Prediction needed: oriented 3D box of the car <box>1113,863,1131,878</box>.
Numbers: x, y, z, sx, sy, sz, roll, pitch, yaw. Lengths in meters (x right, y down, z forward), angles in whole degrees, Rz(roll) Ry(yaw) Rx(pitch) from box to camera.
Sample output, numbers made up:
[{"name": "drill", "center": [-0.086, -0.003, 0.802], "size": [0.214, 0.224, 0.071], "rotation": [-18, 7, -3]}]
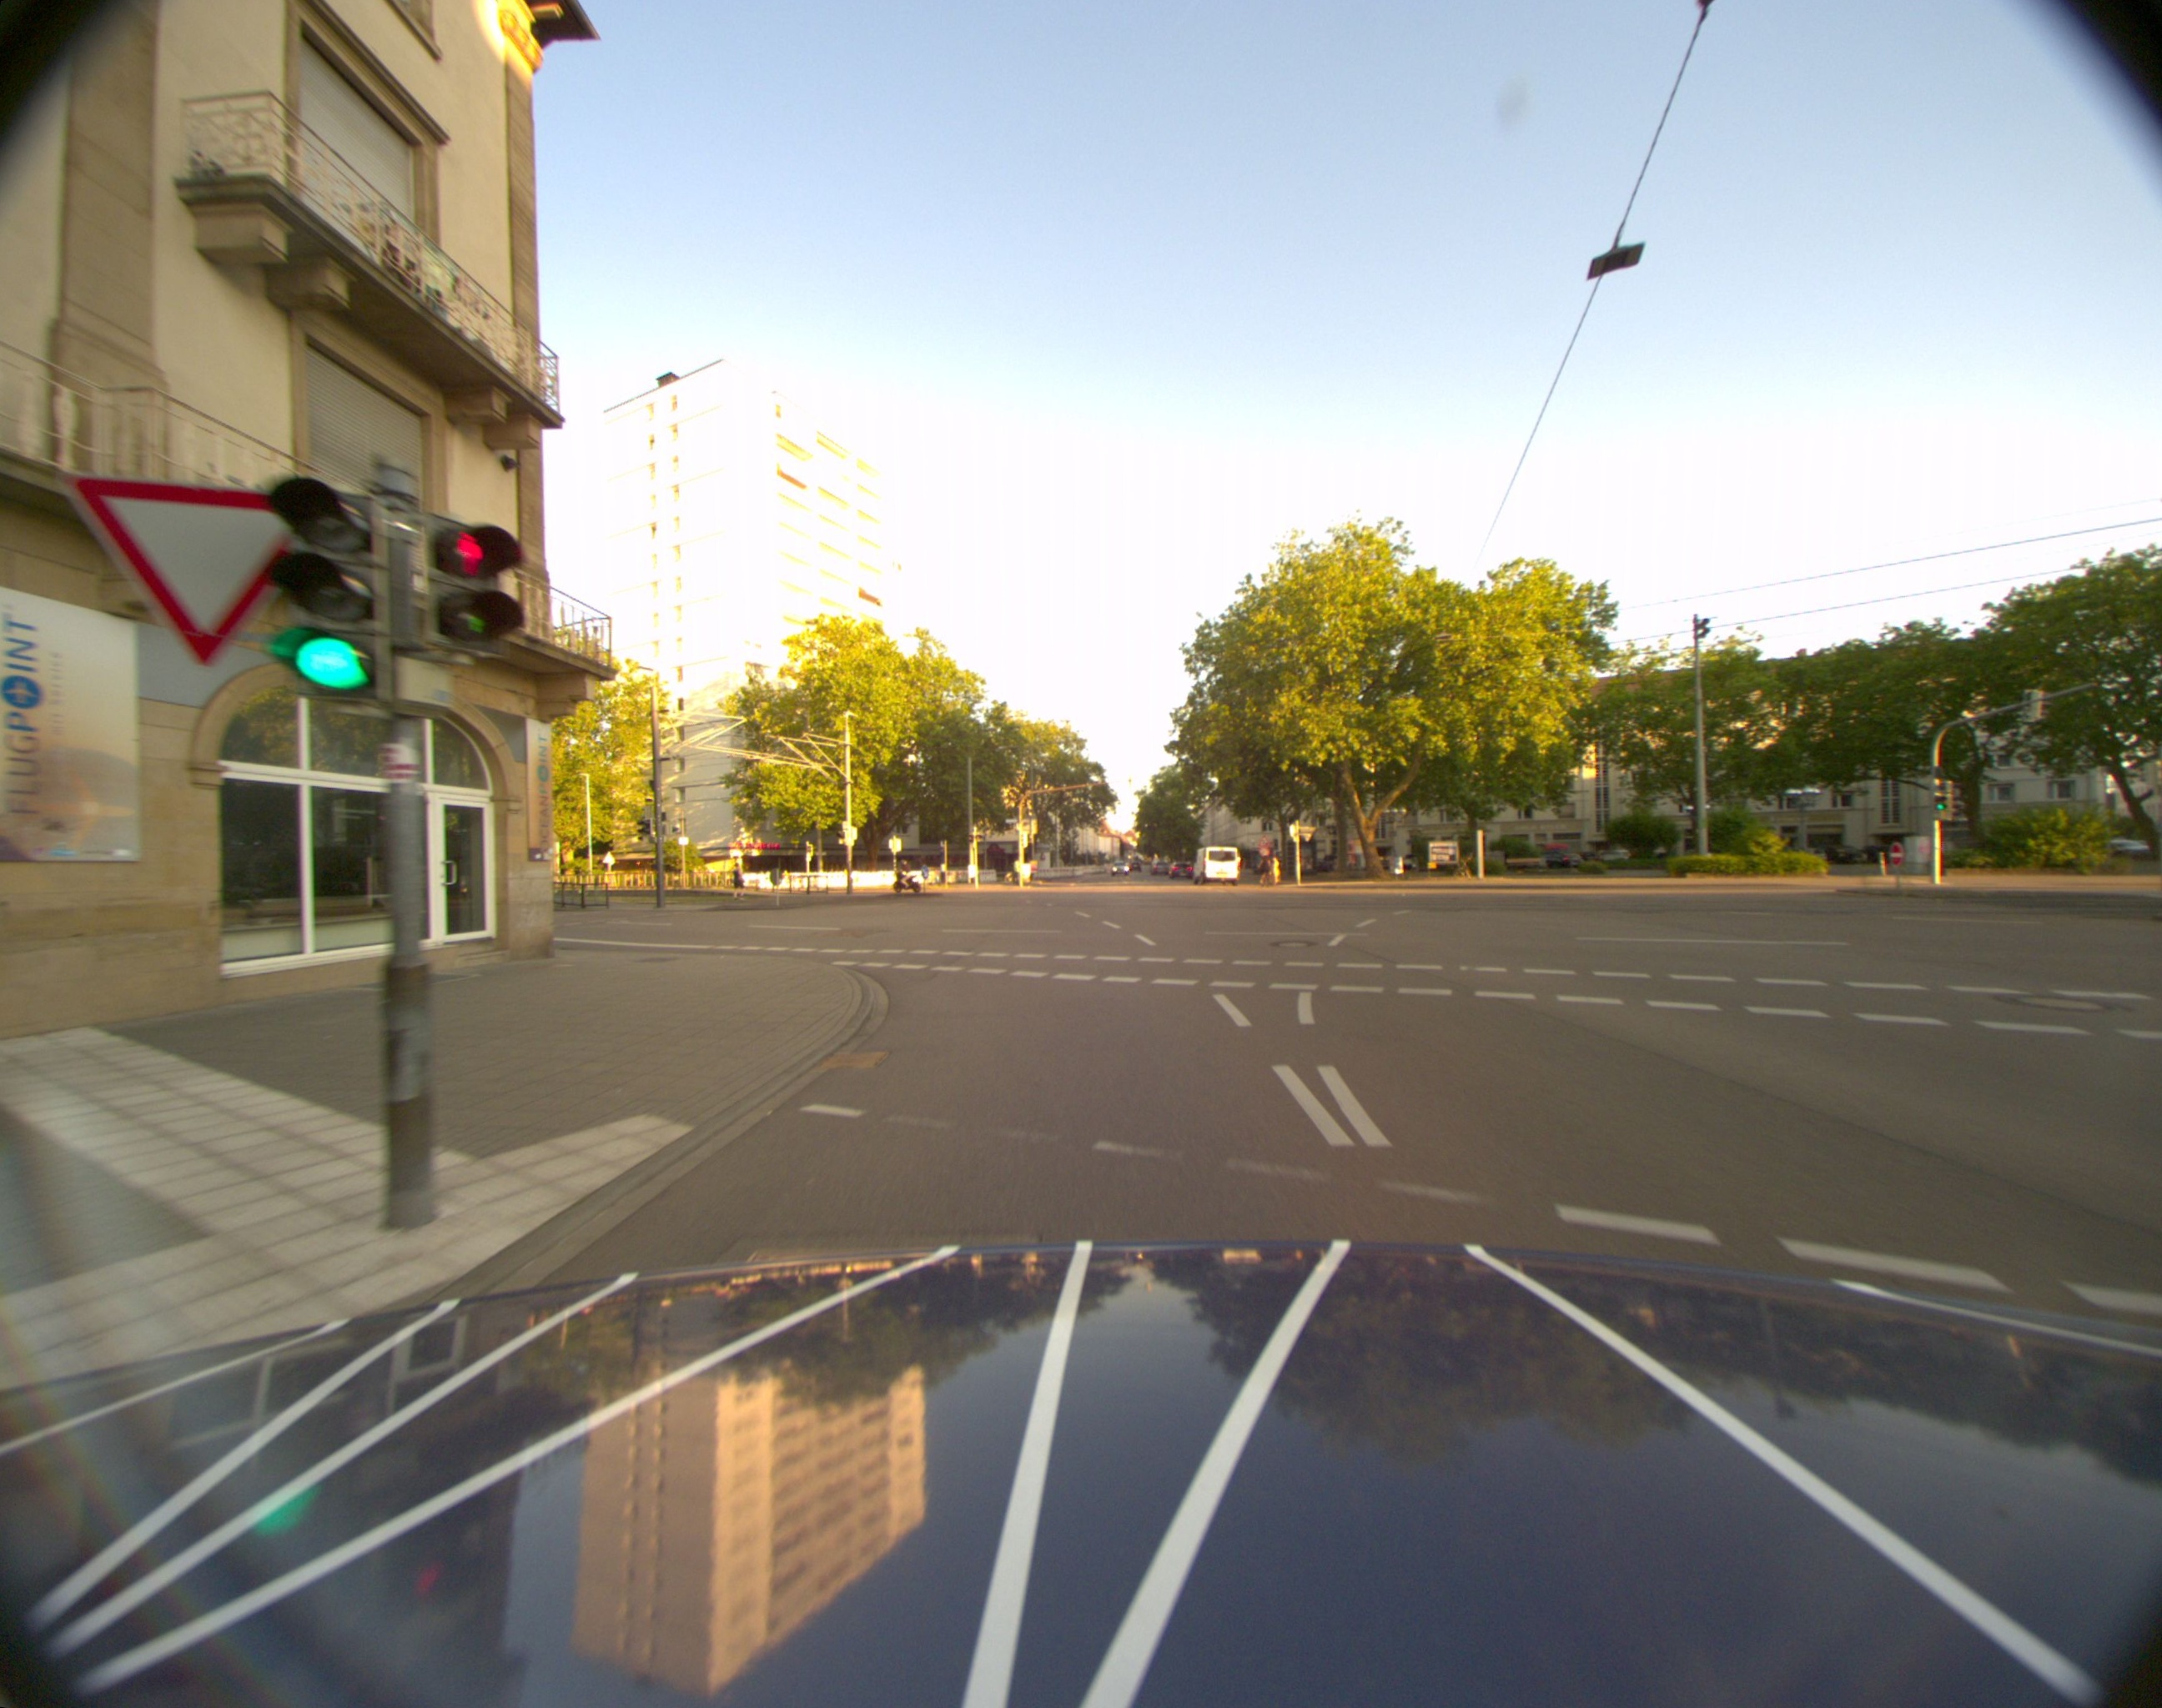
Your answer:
[{"name": "car", "center": [4.704, 1.880, 86.443], "size": [1.839, 1.549, 4.002], "rotation": [-1, 0, 5]}]

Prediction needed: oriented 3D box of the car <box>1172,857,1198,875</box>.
[{"name": "car", "center": [8.847, 0.973, 65.135], "size": [1.998, 1.450, 4.002], "rotation": [-1, 0, 5]}]

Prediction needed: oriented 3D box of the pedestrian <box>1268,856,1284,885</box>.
[{"name": "pedestrian", "center": [10.862, 0.911, 42.296], "size": [0.745, 1.619, 0.661], "rotation": [-2, 0, 18]}]

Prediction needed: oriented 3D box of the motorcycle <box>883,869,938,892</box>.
[{"name": "motorcycle", "center": [-8.704, 1.338, 38.668], "size": [2.799, 1.123, 0.911], "rotation": [-2, 0, 29]}]

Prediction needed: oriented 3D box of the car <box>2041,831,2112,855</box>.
[{"name": "car", "center": [70.811, -0.767, 54.131], "size": [1.759, 1.561, 3.593], "rotation": [-1, 0, 29]}]

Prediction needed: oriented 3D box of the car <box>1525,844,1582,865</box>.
[{"name": "car", "center": [39.894, 0.048, 64.189], "size": [3.989, 1.696, 2.004], "rotation": [-1, 0, 35]}]

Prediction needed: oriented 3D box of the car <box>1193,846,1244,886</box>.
[{"name": "car", "center": [7.273, 0.619, 40.590], "size": [1.991, 1.945, 4.596], "rotation": [-1, 0, 2]}]

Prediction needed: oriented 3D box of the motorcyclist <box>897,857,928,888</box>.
[{"name": "motorcyclist", "center": [-8.553, 0.955, 38.587], "size": [1.154, 1.546, 0.910], "rotation": [-1, 0, 29]}]

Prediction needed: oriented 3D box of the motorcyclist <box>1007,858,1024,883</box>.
[{"name": "motorcyclist", "center": [-4.086, 1.045, 47.484], "size": [0.830, 1.510, 0.622], "rotation": [-1, 0, -24]}]

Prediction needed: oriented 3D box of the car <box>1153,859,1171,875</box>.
[{"name": "car", "center": [8.678, 1.362, 81.562], "size": [1.794, 1.571, 4.002], "rotation": [-1, 0, 5]}]

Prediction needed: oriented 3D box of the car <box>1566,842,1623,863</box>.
[{"name": "car", "center": [44.095, -0.081, 65.318], "size": [3.989, 1.696, 2.004], "rotation": [-1, 0, 35]}]

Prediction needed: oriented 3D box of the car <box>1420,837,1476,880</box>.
[{"name": "car", "center": [18.341, 0.227, 38.139], "size": [1.865, 2.002, 3.815], "rotation": [-1, 0, 16]}]

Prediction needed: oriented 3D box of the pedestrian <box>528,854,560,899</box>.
[{"name": "pedestrian", "center": [-22.087, 0.929, 31.255], "size": [0.710, 1.806, 0.790], "rotation": [-1, 0, 25]}]

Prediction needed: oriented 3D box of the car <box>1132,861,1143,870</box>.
[{"name": "car", "center": [9.394, 1.970, 126.167], "size": [1.839, 1.419, 4.002], "rotation": [-1, 0, 5]}]

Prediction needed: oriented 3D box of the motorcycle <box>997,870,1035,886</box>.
[{"name": "motorcycle", "center": [-4.071, 1.483, 47.488], "size": [2.288, 0.917, 0.622], "rotation": [-1, 0, -24]}]

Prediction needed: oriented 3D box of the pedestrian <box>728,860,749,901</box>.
[{"name": "pedestrian", "center": [-14.231, 1.086, 31.586], "size": [0.663, 1.647, 0.542], "rotation": [-2, 0, -33]}]
